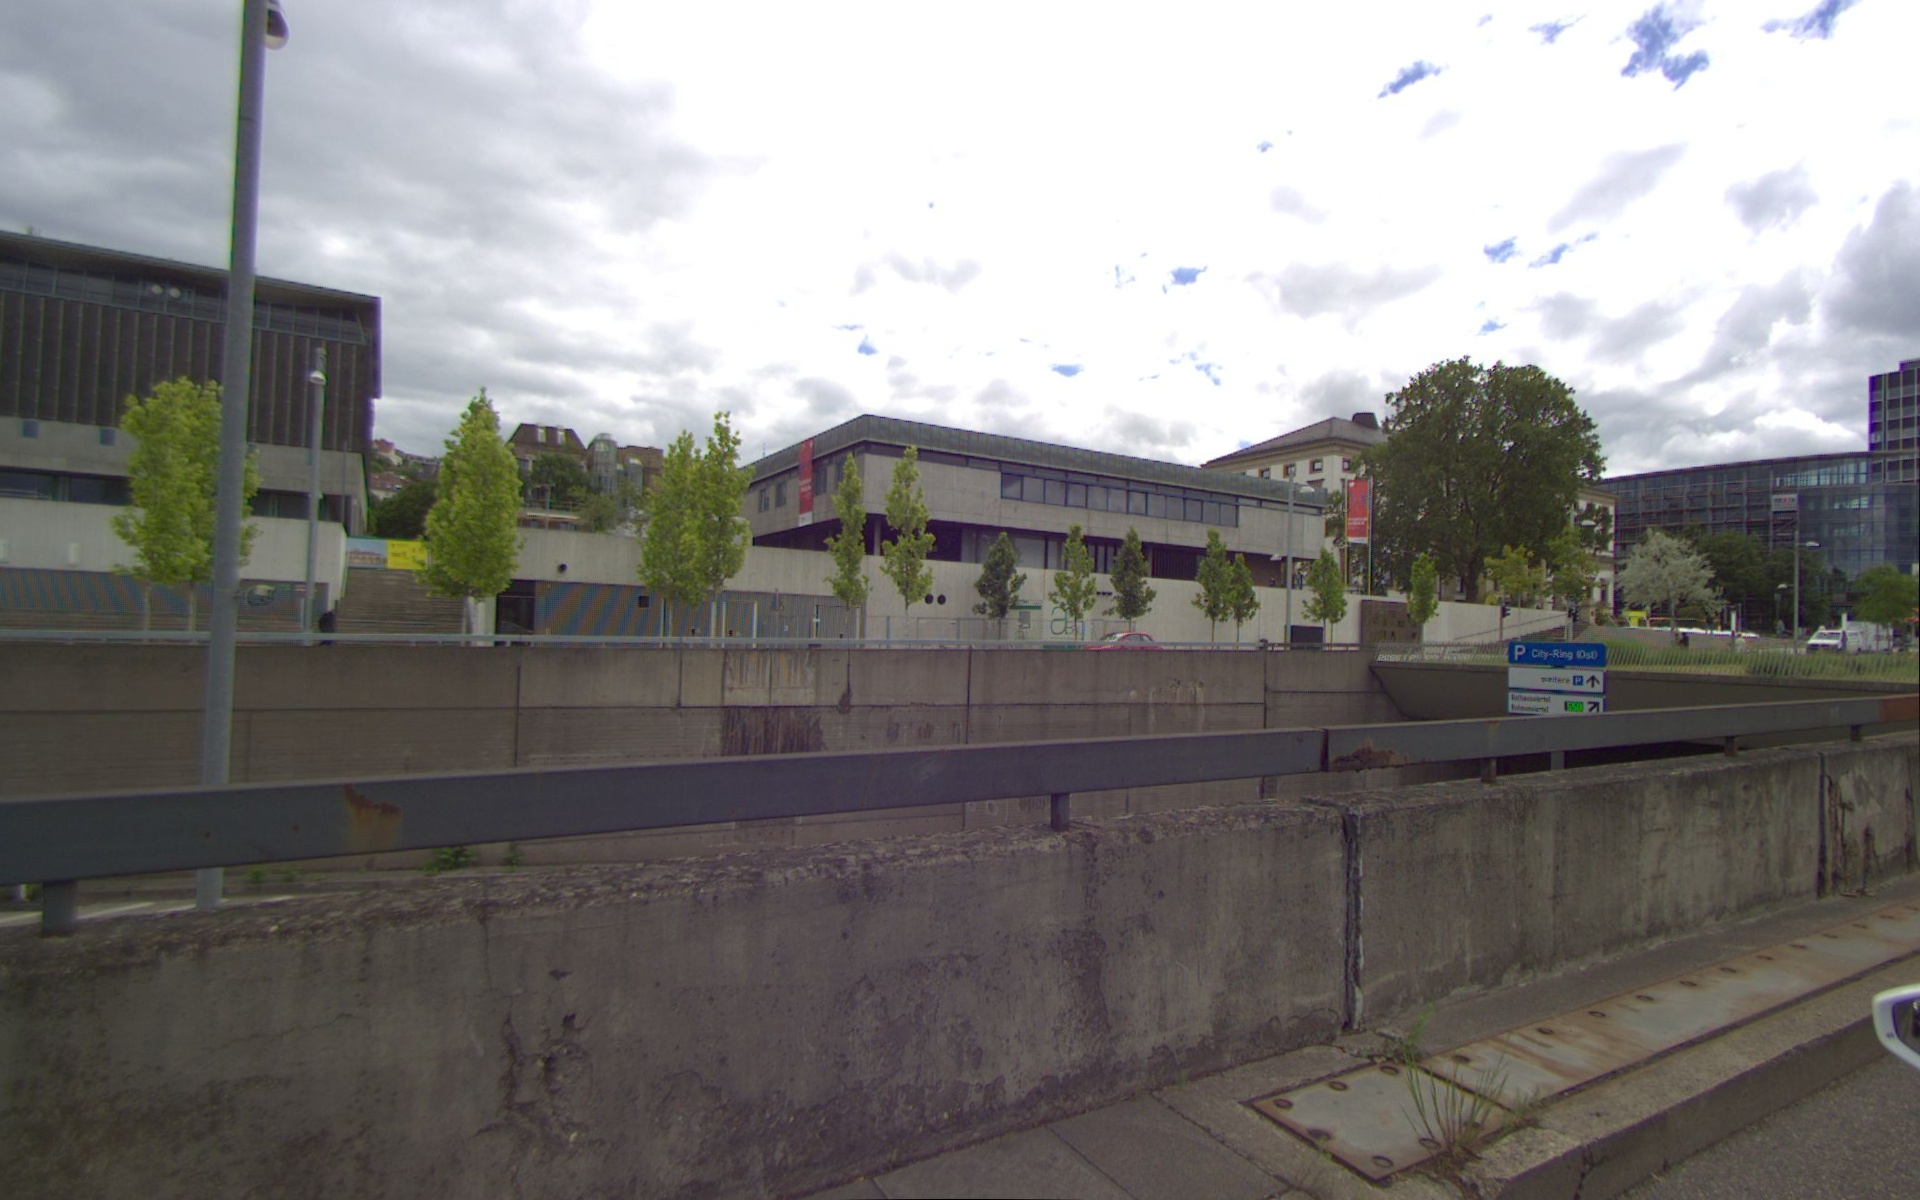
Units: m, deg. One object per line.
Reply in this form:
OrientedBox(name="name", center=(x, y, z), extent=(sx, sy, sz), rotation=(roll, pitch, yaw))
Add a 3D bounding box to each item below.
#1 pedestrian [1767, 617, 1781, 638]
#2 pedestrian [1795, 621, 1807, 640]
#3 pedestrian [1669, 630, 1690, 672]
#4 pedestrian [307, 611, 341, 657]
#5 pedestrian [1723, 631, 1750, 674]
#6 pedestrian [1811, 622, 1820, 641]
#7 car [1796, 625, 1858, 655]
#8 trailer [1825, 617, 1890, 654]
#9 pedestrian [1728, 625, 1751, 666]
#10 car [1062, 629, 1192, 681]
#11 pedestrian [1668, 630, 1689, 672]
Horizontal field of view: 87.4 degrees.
OrientedBox(name="pedestrian", center=(78.164, 2.626, 96.459), extent=(1.103, 2.040, 0.734), rotation=(0, -1, -35))
OrientedBox(name="pedestrian", center=(88.678, 3.230, 105.862), extent=(0.783, 2.040, 0.735), rotation=(0, -1, -29))
OrientedBox(name="pedestrian", center=(35.843, 2.517, 50.070), extent=(0.779, 2.040, 0.834), rotation=(-1, -1, 33))
OrientedBox(name="pedestrian", center=(-23.171, 1.222, 36.604), extent=(0.777, 1.664, 0.740), rotation=(0, -1, -2))
OrientedBox(name="pedestrian", center=(37.129, 2.490, 48.038), extent=(0.616, 2.040, 0.863), rotation=(0, -1, 0))
OrientedBox(name="pedestrian", center=(90.728, 3.340, 106.544), extent=(0.730, 2.040, 0.789), rotation=(-1, -1, 40))
OrientedBox(name="car", center=(62.594, 2.856, 72.496), extent=(4.635, 2.040, 1.985), rotation=(0, 0, -30))
OrientedBox(name="trailer", center=(66.994, 2.628, 74.967), extent=(5.443, 2.640, 2.027), rotation=(1, 1, -30))
OrientedBox(name="pedestrian", center=(39.988, 2.342, 51.532), extent=(0.623, 2.041, 0.724), rotation=(-4, 2, -37))
OrientedBox(name="car", center=(6.472, 2.092, 38.859), extent=(4.681, 1.879, 2.164), rotation=(2, -1, -31))
OrientedBox(name="pedestrian", center=(35.320, 2.486, 49.406), extent=(0.779, 2.040, 0.834), rotation=(-1, -1, 33))
